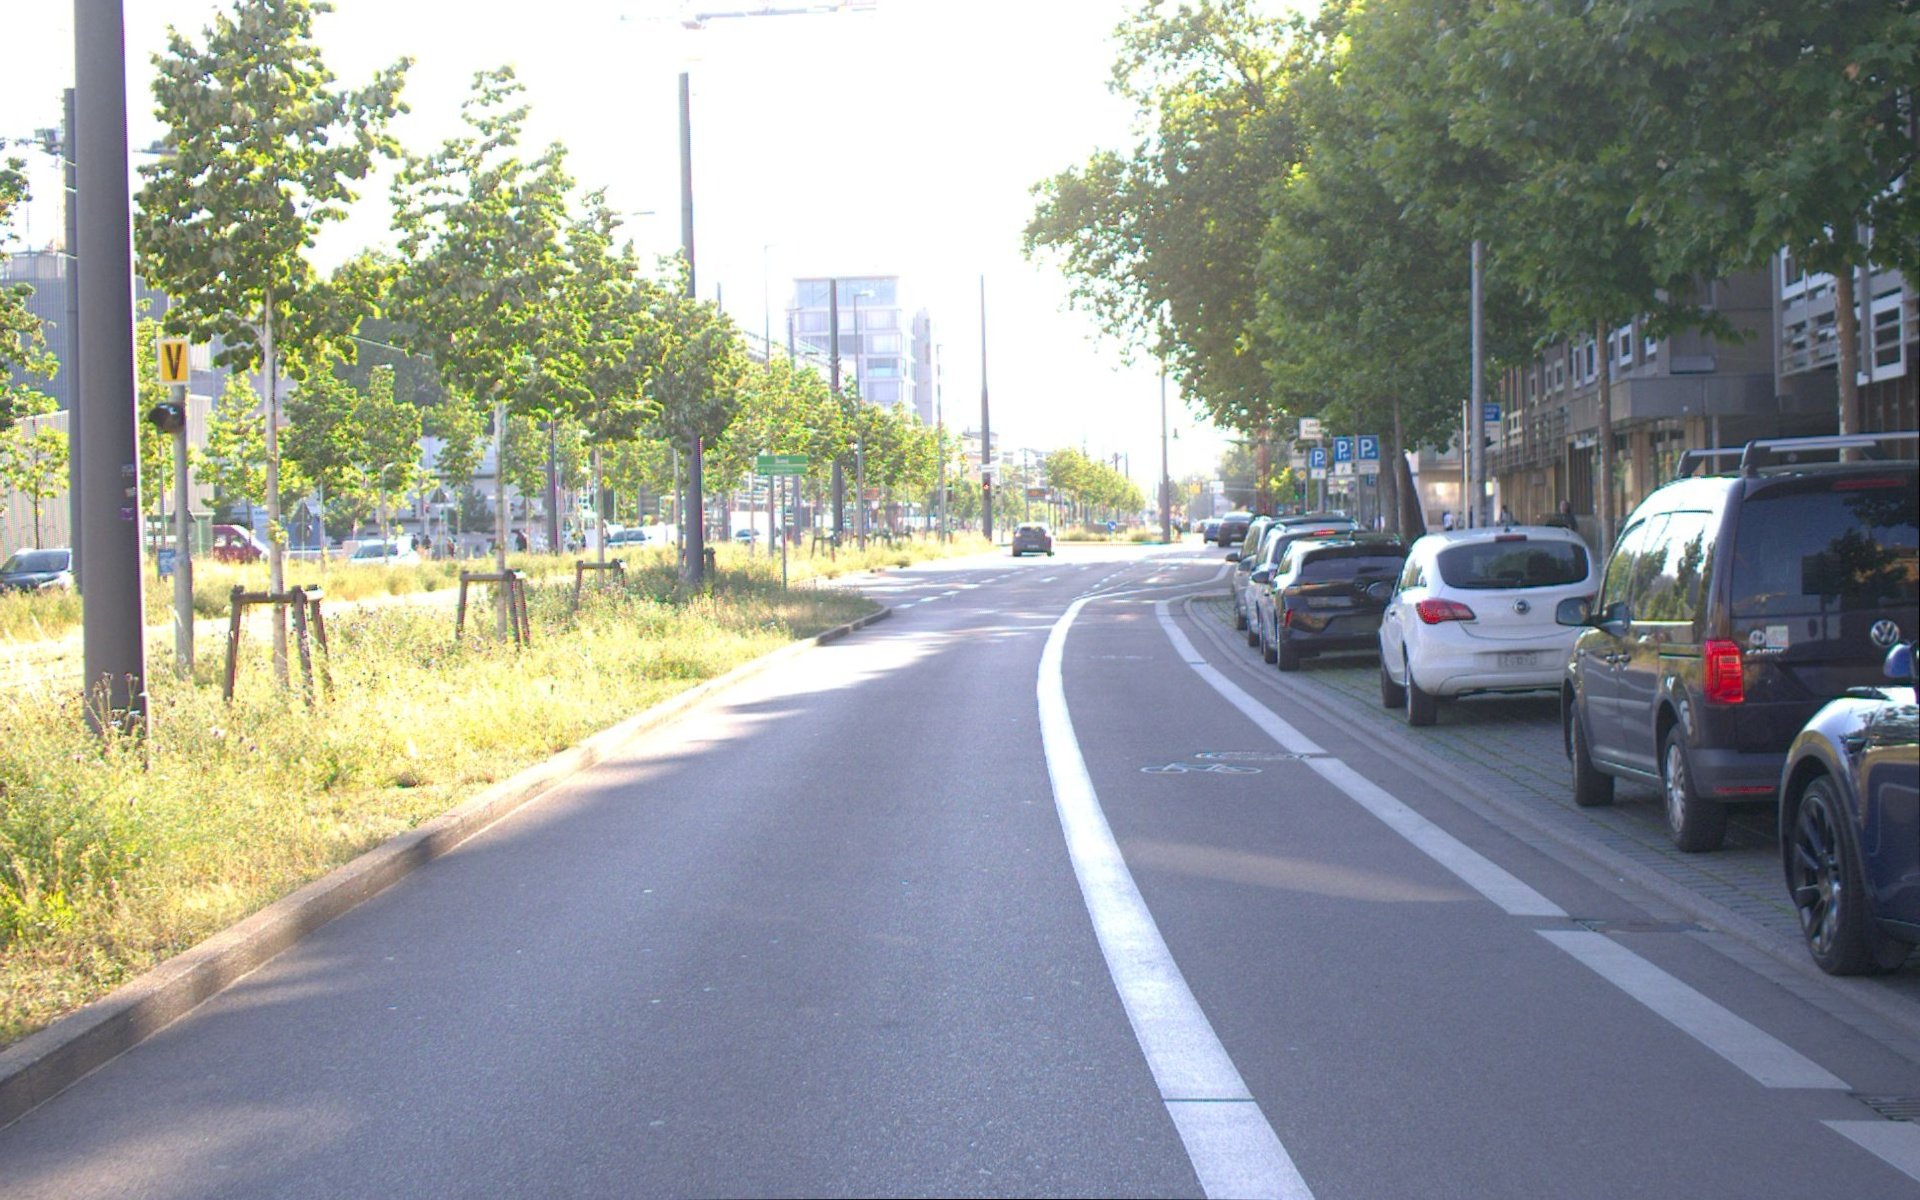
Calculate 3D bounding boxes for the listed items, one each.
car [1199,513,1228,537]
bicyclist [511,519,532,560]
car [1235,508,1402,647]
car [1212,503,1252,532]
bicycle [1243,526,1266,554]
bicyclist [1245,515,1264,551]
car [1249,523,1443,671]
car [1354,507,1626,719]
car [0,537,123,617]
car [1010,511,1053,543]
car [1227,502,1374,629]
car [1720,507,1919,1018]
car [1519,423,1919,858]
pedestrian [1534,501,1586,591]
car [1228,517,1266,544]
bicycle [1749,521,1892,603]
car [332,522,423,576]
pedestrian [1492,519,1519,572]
[{"bbox_3d":[16.306,-4.816,221.261,1.759,1.479,3.850,-1,1,3],"label":"car"},{"bbox_3d":[-18.487,-2.549,145.023,0.688,1.702,0.954,-1,1,4],"label":"bicyclist"},{"bbox_3d":[4.573,-0.331,44.360,1.728,1.616,4.216,-3,2,1],"label":"car"},{"bbox_3d":[14.152,-4.305,178.909,1.940,1.423,3.925,-1,2,3],"label":"car"},{"bbox_3d":[13.175,-2.697,153.765,0.799,1.200,2.264,-1,2,0],"label":"bicycle"},{"bbox_3d":[13.164,-3.015,153.680,0.800,1.596,0.785,-1,1,0],"label":"bicyclist"},{"bbox_3d":[4.284,-0.080,38.706,1.794,1.444,4.376,-3,2,2],"label":"car"},{"bbox_3d":[4.189,0.039,27.709,1.664,1.484,4.203,-3,2,3],"label":"car"},{"bbox_3d":[-19.759,-0.522,74.706,1.993,1.645,4.271,-1,1,1],"label":"car"},{"bbox_3d":[3.172,-3.243,152.389,1.777,1.423,4.000,0,2,3],"label":"car"},{"bbox_3d":[4.934,-0.545,50.287,1.728,1.682,4.514,-3,2,1],"label":"car"},{"bbox_3d":[4.008,0.493,10.573,1.931,1.593,4.700,-3,2,-4],"label":"car"},{"bbox_3d":[4.163,0.108,17.743,1.734,1.912,4.394,-3,2,0],"label":"car"},{"bbox_3d":[11.309,-1.022,64.801,0.789,1.642,1.137,-2,1,3],"label":"pedestrian"},{"bbox_3d":[16.285,-3.950,195.195,1.940,1.479,3.925,-1,2,3],"label":"car"},{"bbox_3d":[12.182,-0.539,48.700,1.899,1.089,0.392,-2,1,-3],"label":"bicycle"},{"bbox_3d":[-18.374,-1.616,108.668,1.994,1.637,4.167,-1,1,2],"label":"car"},{"bbox_3d":[19.292,-1.938,121.590,0.831,1.850,0.847,-1,1,4],"label":"pedestrian"}]
